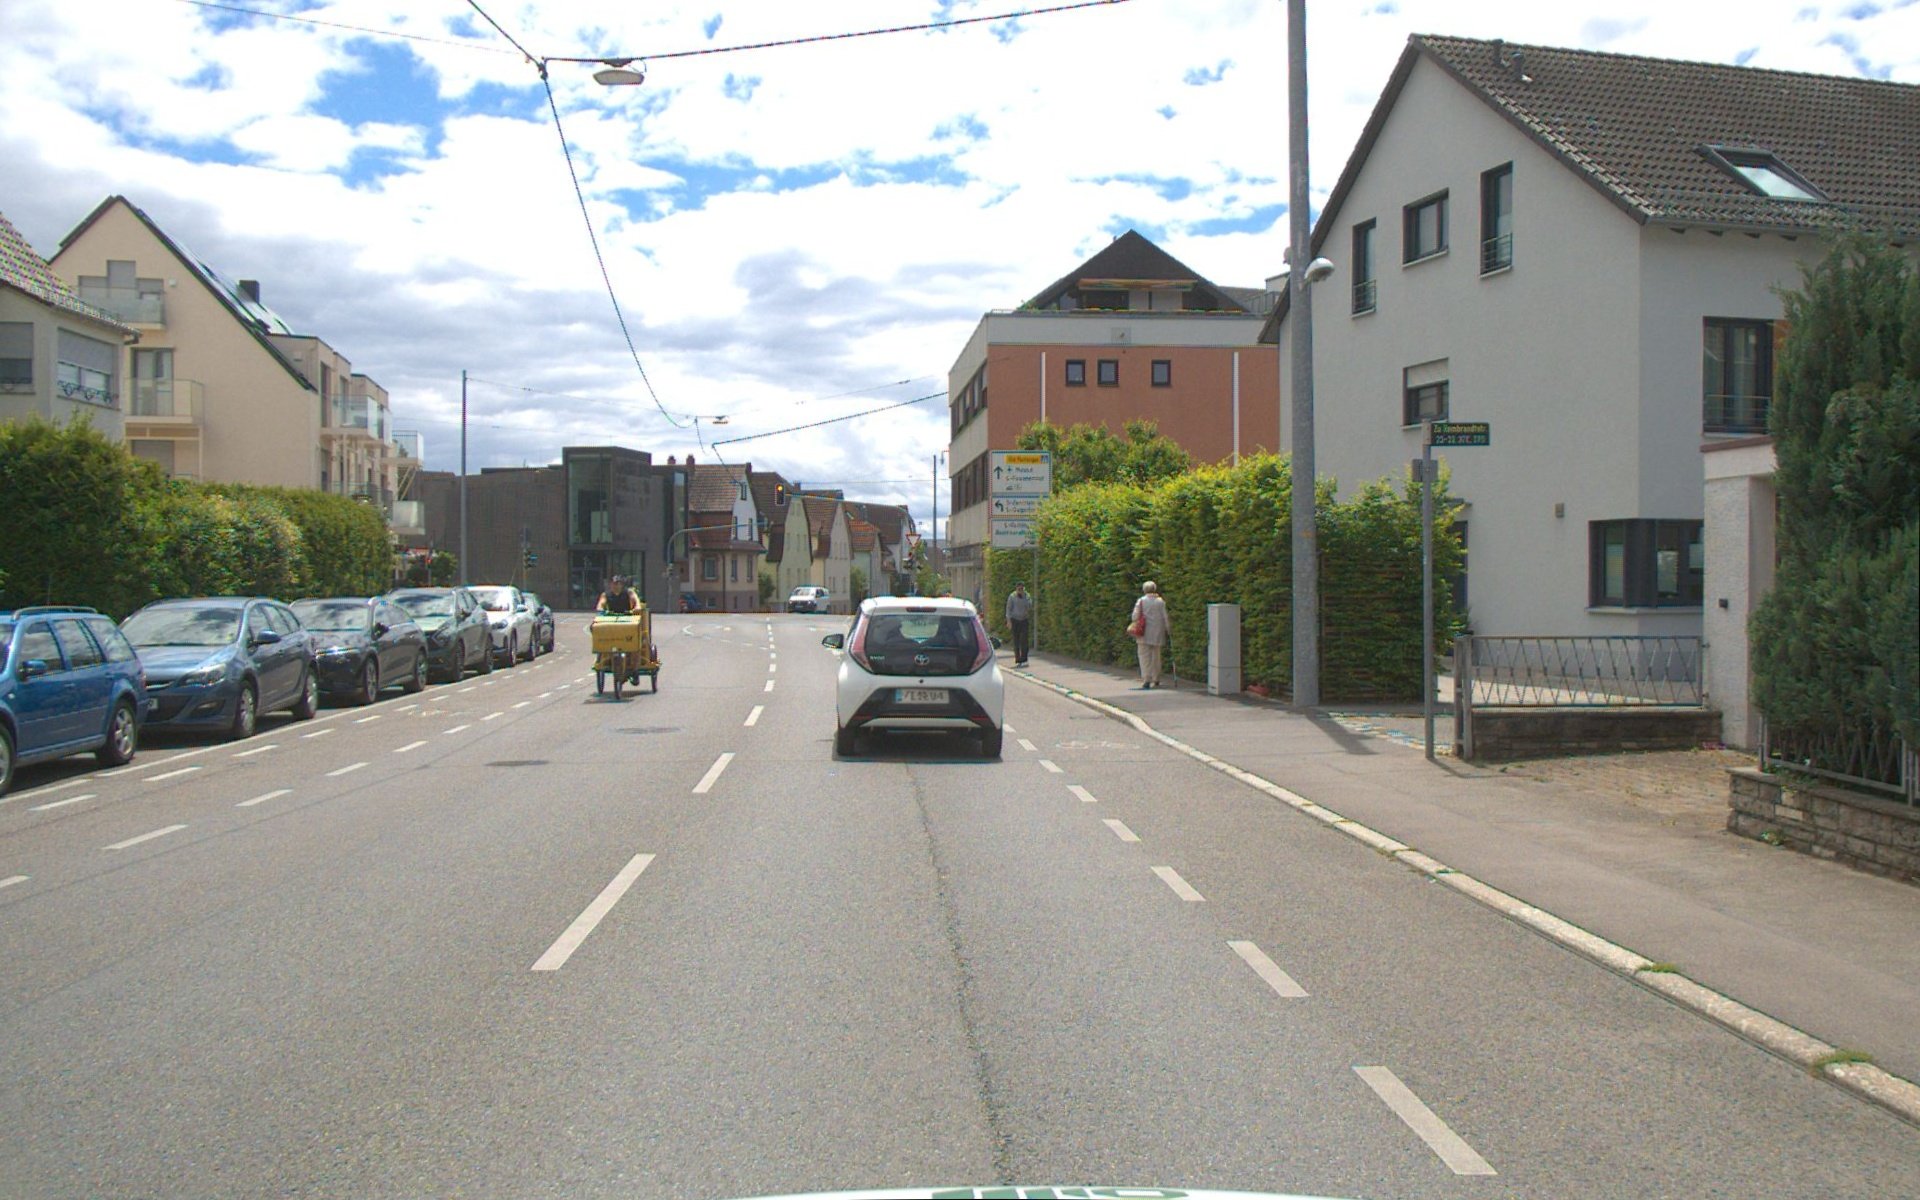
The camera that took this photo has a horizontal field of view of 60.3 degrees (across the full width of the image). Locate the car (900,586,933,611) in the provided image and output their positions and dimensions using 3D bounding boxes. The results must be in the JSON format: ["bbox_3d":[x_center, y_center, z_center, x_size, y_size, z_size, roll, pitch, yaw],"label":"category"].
[{"bbox_3d":[-3.554,-0.128,135.749,1.951,1.937,4.003,1,0,8],"label":"car"}]

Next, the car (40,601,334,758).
[{"bbox_3d":[-8.587,0.790,18.833,1.744,1.517,4.557,-1,0,-8],"label":"car"}]

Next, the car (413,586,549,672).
[{"bbox_3d":[-10.109,0.566,35.242,1.955,1.679,4.512,-1,0,-6],"label":"car"}]

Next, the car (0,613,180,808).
[{"bbox_3d":[-8.297,0.865,13.845,1.743,1.442,4.435,-1,0,-5],"label":"car"}]

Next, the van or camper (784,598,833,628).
[{"bbox_3d":[-10.373,0.875,113.411,2.070,1.959,5.289,1,0,9],"label":"van or camper"}]

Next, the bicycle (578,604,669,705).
[{"bbox_3d":[-4.812,0.744,23.814,0.846,1.324,2.660,0,0,-2],"label":"bicycle"}]

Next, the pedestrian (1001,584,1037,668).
[{"bbox_3d":[1.173,0.516,33.007,0.591,1.633,0.835,-2,0,-5],"label":"pedestrian"}]

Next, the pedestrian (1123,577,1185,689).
[{"bbox_3d":[2.919,0.490,24.960,0.783,1.645,0.653,-2,0,-5],"label":"pedestrian"}]

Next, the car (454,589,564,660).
[{"bbox_3d":[-10.940,0.556,40.407,1.956,1.615,4.482,-1,0,-7],"label":"car"}]

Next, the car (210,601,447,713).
[{"bbox_3d":[-9.155,0.757,24.428,1.954,1.433,4.686,-1,0,-4],"label":"car"}]

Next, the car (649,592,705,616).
[{"bbox_3d":[-20.228,0.277,118.224,3.538,1.633,1.692,2,0,5],"label":"car"}]

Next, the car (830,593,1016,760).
[{"bbox_3d":[-0.412,0.700,16.763,1.663,1.482,3.297,1,0,-3],"label":"car"}]

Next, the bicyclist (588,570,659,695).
[{"bbox_3d":[-4.826,0.456,23.778,0.776,1.743,1.208,0,0,-1],"label":"bicyclist"}]

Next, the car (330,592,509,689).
[{"bbox_3d":[-9.689,0.663,30.061,1.954,1.591,4.686,-1,0,-4],"label":"car"}]
